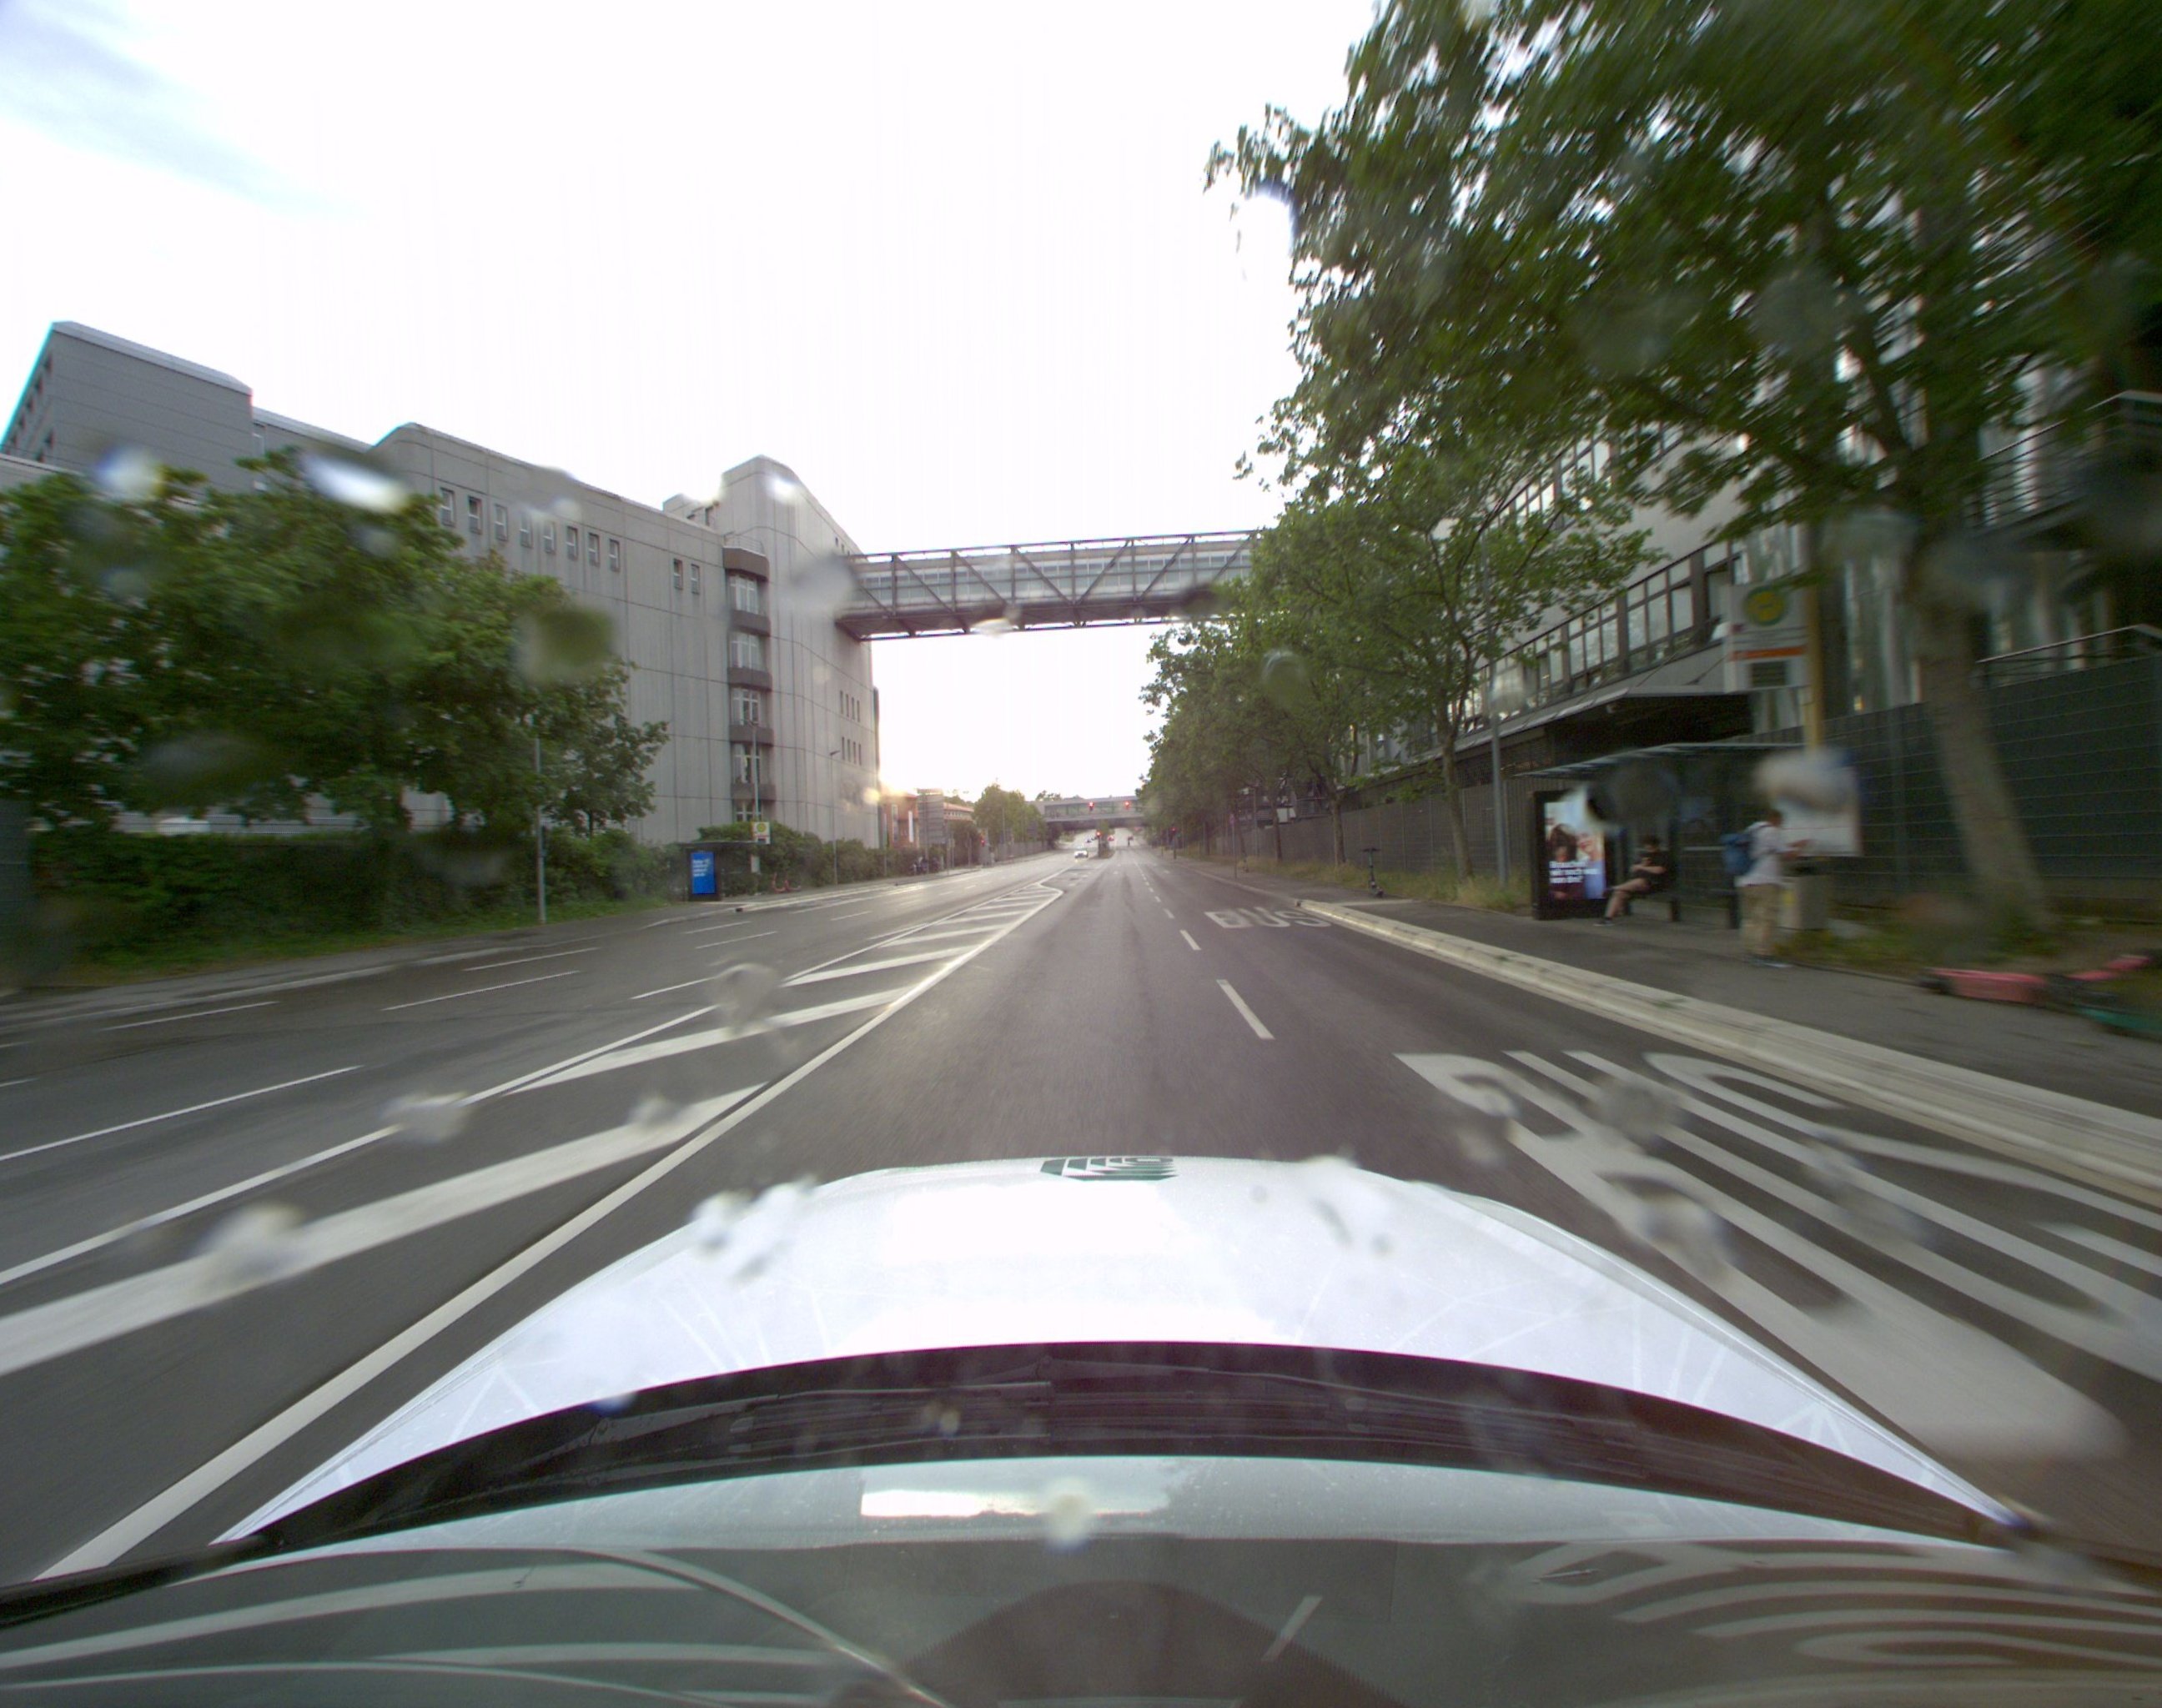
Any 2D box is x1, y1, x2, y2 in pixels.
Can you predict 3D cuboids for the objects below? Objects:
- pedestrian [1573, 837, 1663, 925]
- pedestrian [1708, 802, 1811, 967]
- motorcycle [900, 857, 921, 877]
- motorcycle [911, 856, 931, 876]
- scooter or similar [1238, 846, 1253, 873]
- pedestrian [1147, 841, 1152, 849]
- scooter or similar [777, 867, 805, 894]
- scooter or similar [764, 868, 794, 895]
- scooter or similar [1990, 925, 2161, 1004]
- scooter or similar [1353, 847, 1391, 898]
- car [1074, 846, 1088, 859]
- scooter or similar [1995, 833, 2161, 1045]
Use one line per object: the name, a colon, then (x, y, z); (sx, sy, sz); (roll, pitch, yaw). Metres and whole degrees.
pedestrian: (8.455, 0.411, 12.850); (0.945, 1.316, 0.687); (-2, 0, 9)
pedestrian: (7.203, 0.314, 8.666); (0.479, 1.667, 0.662); (-3, 0, 1)
motorcycle: (-13.651, 1.006, 65.277); (0.910, 1.532, 3.300); (-3, 0, 1)
motorcycle: (-13.550, 0.992, 69.174); (0.955, 1.556, 3.300); (-3, 0, 1)
scooter or similar: (8.737, 0.275, 43.232); (0.605, 1.366, 1.925); (-2, 0, 8)
pedestrian: (17.172, -2.282, 204.628); (1.049, 2.013, 1.155); (-2, 0, 13)
scooter or similar: (-14.758, 1.326, 41.497); (0.494, 1.252, 1.925); (-2, 0, 8)
scooter or similar: (-14.638, 1.324, 39.489); (0.521, 1.252, 1.803); (-2, 0, 8)
scooter or similar: (8.282, 0.843, 6.299); (1.548, 0.519, 0.646); (-3, 0, 19)
scooter or similar: (7.573, 0.461, 21.260); (0.694, 1.244, 1.929); (-2, 0, 14)
car: (0.015, -0.179, 119.367); (1.987, 1.772, 3.999); (-2, 0, -1)
scooter or similar: (6.923, 0.521, 5.232); (0.501, 1.293, 1.435); (-3, 0, 3)
